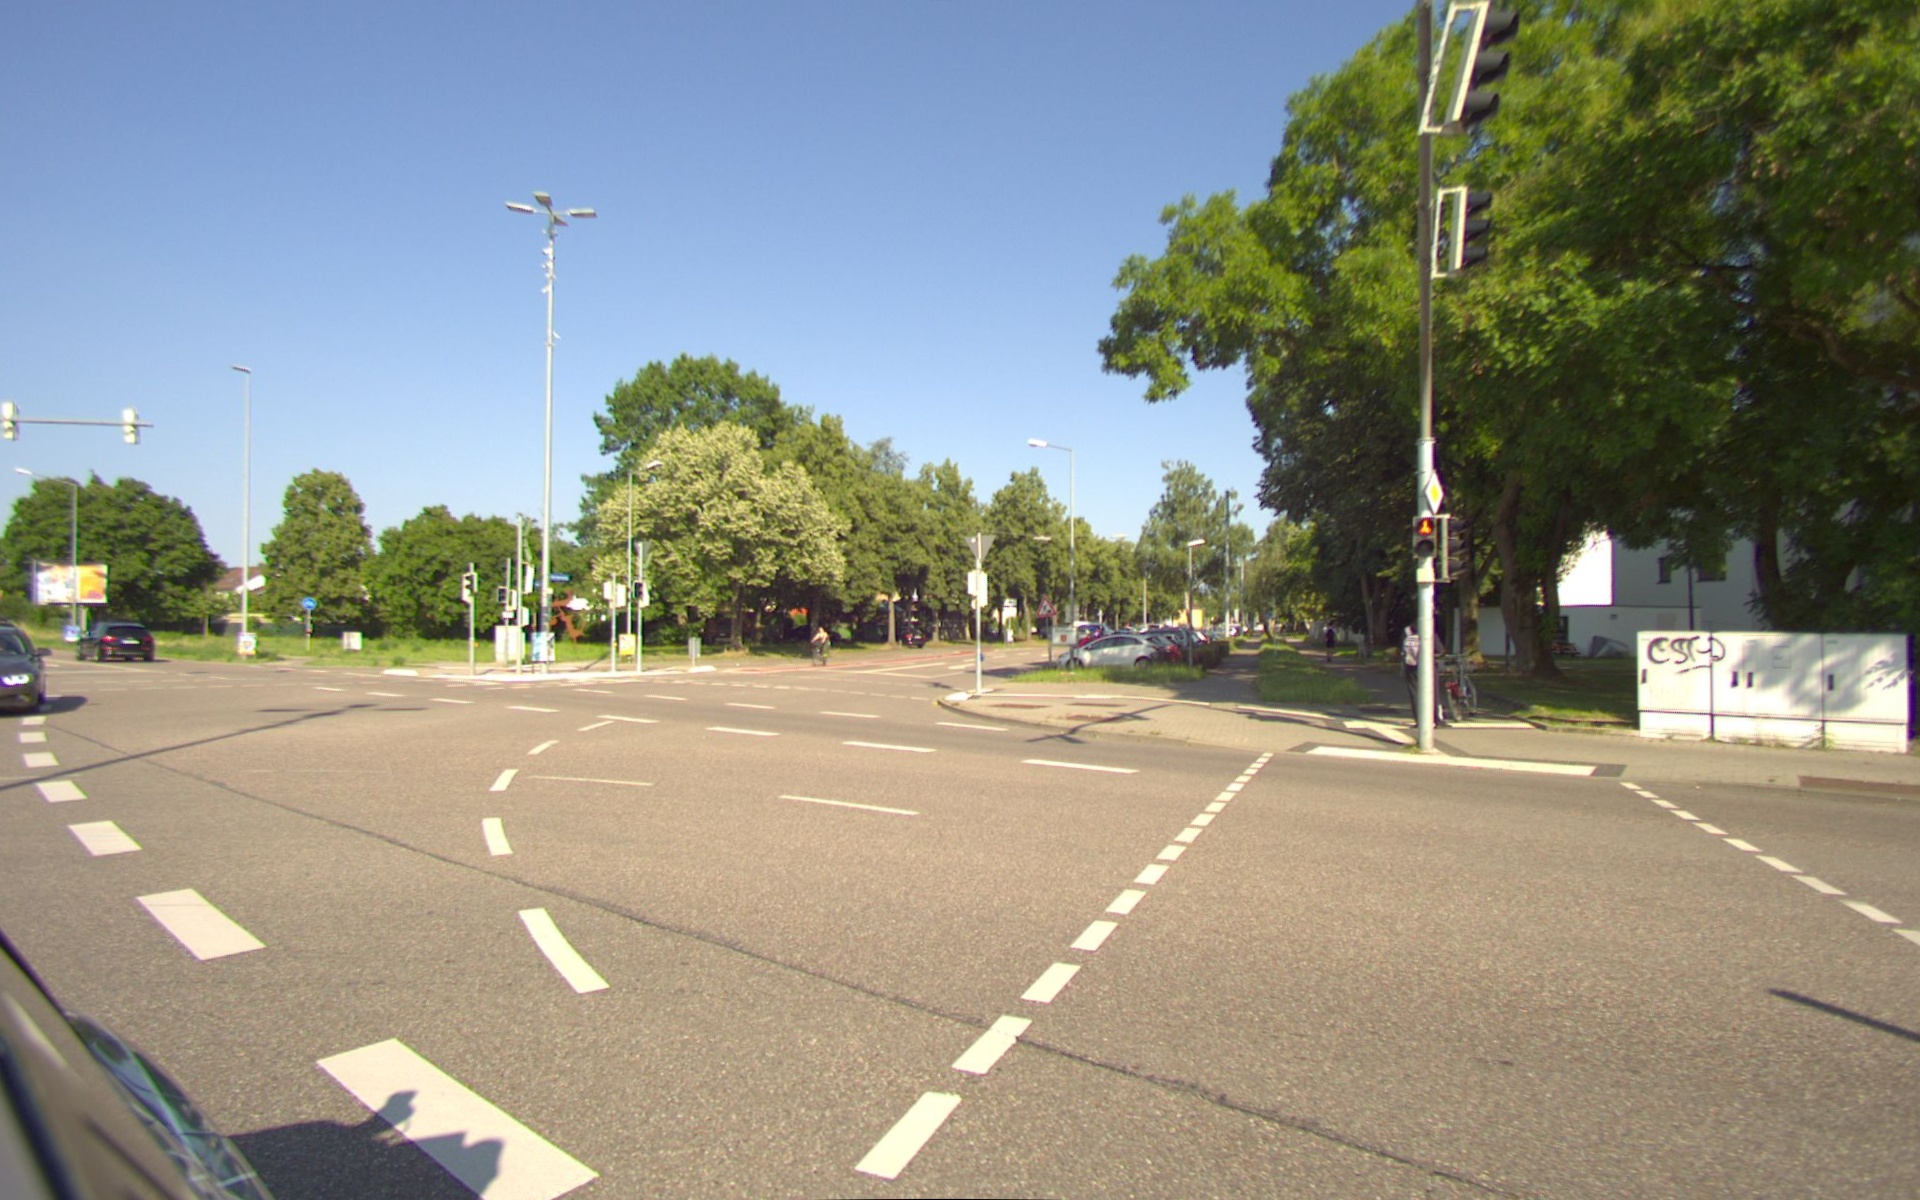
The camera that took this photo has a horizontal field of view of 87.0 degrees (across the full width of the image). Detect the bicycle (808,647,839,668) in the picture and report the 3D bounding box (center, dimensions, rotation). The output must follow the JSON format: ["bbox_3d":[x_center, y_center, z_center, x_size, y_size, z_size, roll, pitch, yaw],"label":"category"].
[{"bbox_3d":[-6.141,2.582,45.513,0.649,0.910,1.798,-1,-2,18],"label":"bicycle"}]

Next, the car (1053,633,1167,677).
[{"bbox_3d":[5.712,2.073,38.500,3.971,1.450,1.773,-4,-3,21],"label":"car"}]

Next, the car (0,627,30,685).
[{"bbox_3d":[-26.814,1.474,27.270,4.604,1.501,1.799,-1,-2,38],"label":"car"}]

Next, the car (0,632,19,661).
[{"bbox_3d":[-52.542,2.480,54.654,3.992,1.532,1.772,-1,-3,36],"label":"car"}]

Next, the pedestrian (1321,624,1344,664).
[{"bbox_3d":[16.226,1.917,44.041,0.616,1.726,0.706,1,-2,-40],"label":"pedestrian"}]

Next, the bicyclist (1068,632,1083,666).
[{"bbox_3d":[5.478,2.307,47.847,0.604,1.572,0.599,-1,-2,17],"label":"bicyclist"}]

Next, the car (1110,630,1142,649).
[{"bbox_3d":[13.088,3.123,79.762,1.771,1.425,4.217,-1,-2,19],"label":"car"}]

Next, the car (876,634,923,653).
[{"bbox_3d":[-4.560,3.183,75.243,1.499,1.330,4.784,1,-2,-30],"label":"car"}]

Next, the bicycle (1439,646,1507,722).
[{"bbox_3d":[8.370,1.328,16.470,0.631,1.127,1.891,-2,-2,38],"label":"bicycle"}]

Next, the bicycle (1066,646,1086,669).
[{"bbox_3d":[5.504,2.713,47.898,0.616,1.048,2.060,-1,-2,16],"label":"bicycle"}]

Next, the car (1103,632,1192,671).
[{"bbox_3d":[9.026,2.459,48.678,3.969,1.824,1.773,-1,-2,20],"label":"car"}]

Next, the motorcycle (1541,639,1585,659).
[{"bbox_3d":[30.131,2.446,50.623,0.517,0.972,2.050,0,-2,-18],"label":"motorcycle"}]

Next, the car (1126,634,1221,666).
[{"bbox_3d":[11.514,2.676,54.561,4.773,1.488,1.775,-3,-3,18],"label":"car"}]

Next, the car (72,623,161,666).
[{"bbox_3d":[-34.924,1.814,41.864,4.379,1.672,1.970,-1,-3,39],"label":"car"}]

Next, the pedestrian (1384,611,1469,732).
[{"bbox_3d":[7.071,1.054,15.349,0.931,1.765,0.807,-2,-2,43],"label":"pedestrian"}]

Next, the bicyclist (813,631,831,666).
[{"bbox_3d":[-6.186,2.177,45.472,0.612,1.535,0.625,-2,-2,14],"label":"bicyclist"}]

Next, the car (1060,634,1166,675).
[{"bbox_3d":[6.312,2.243,41.701,3.973,1.426,1.772,-5,-3,22],"label":"car"}]

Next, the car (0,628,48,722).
[{"bbox_3d":[-16.529,1.189,16.878,1.795,1.435,4.465,1,-2,-44],"label":"car"}]

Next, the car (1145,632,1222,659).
[{"bbox_3d":[14.639,2.984,66.358,4.773,1.488,1.775,-3,-3,18],"label":"car"}]

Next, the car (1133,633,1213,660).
[{"bbox_3d":[13.499,2.971,64.143,4.773,1.488,1.775,-3,-3,18],"label":"car"}]
